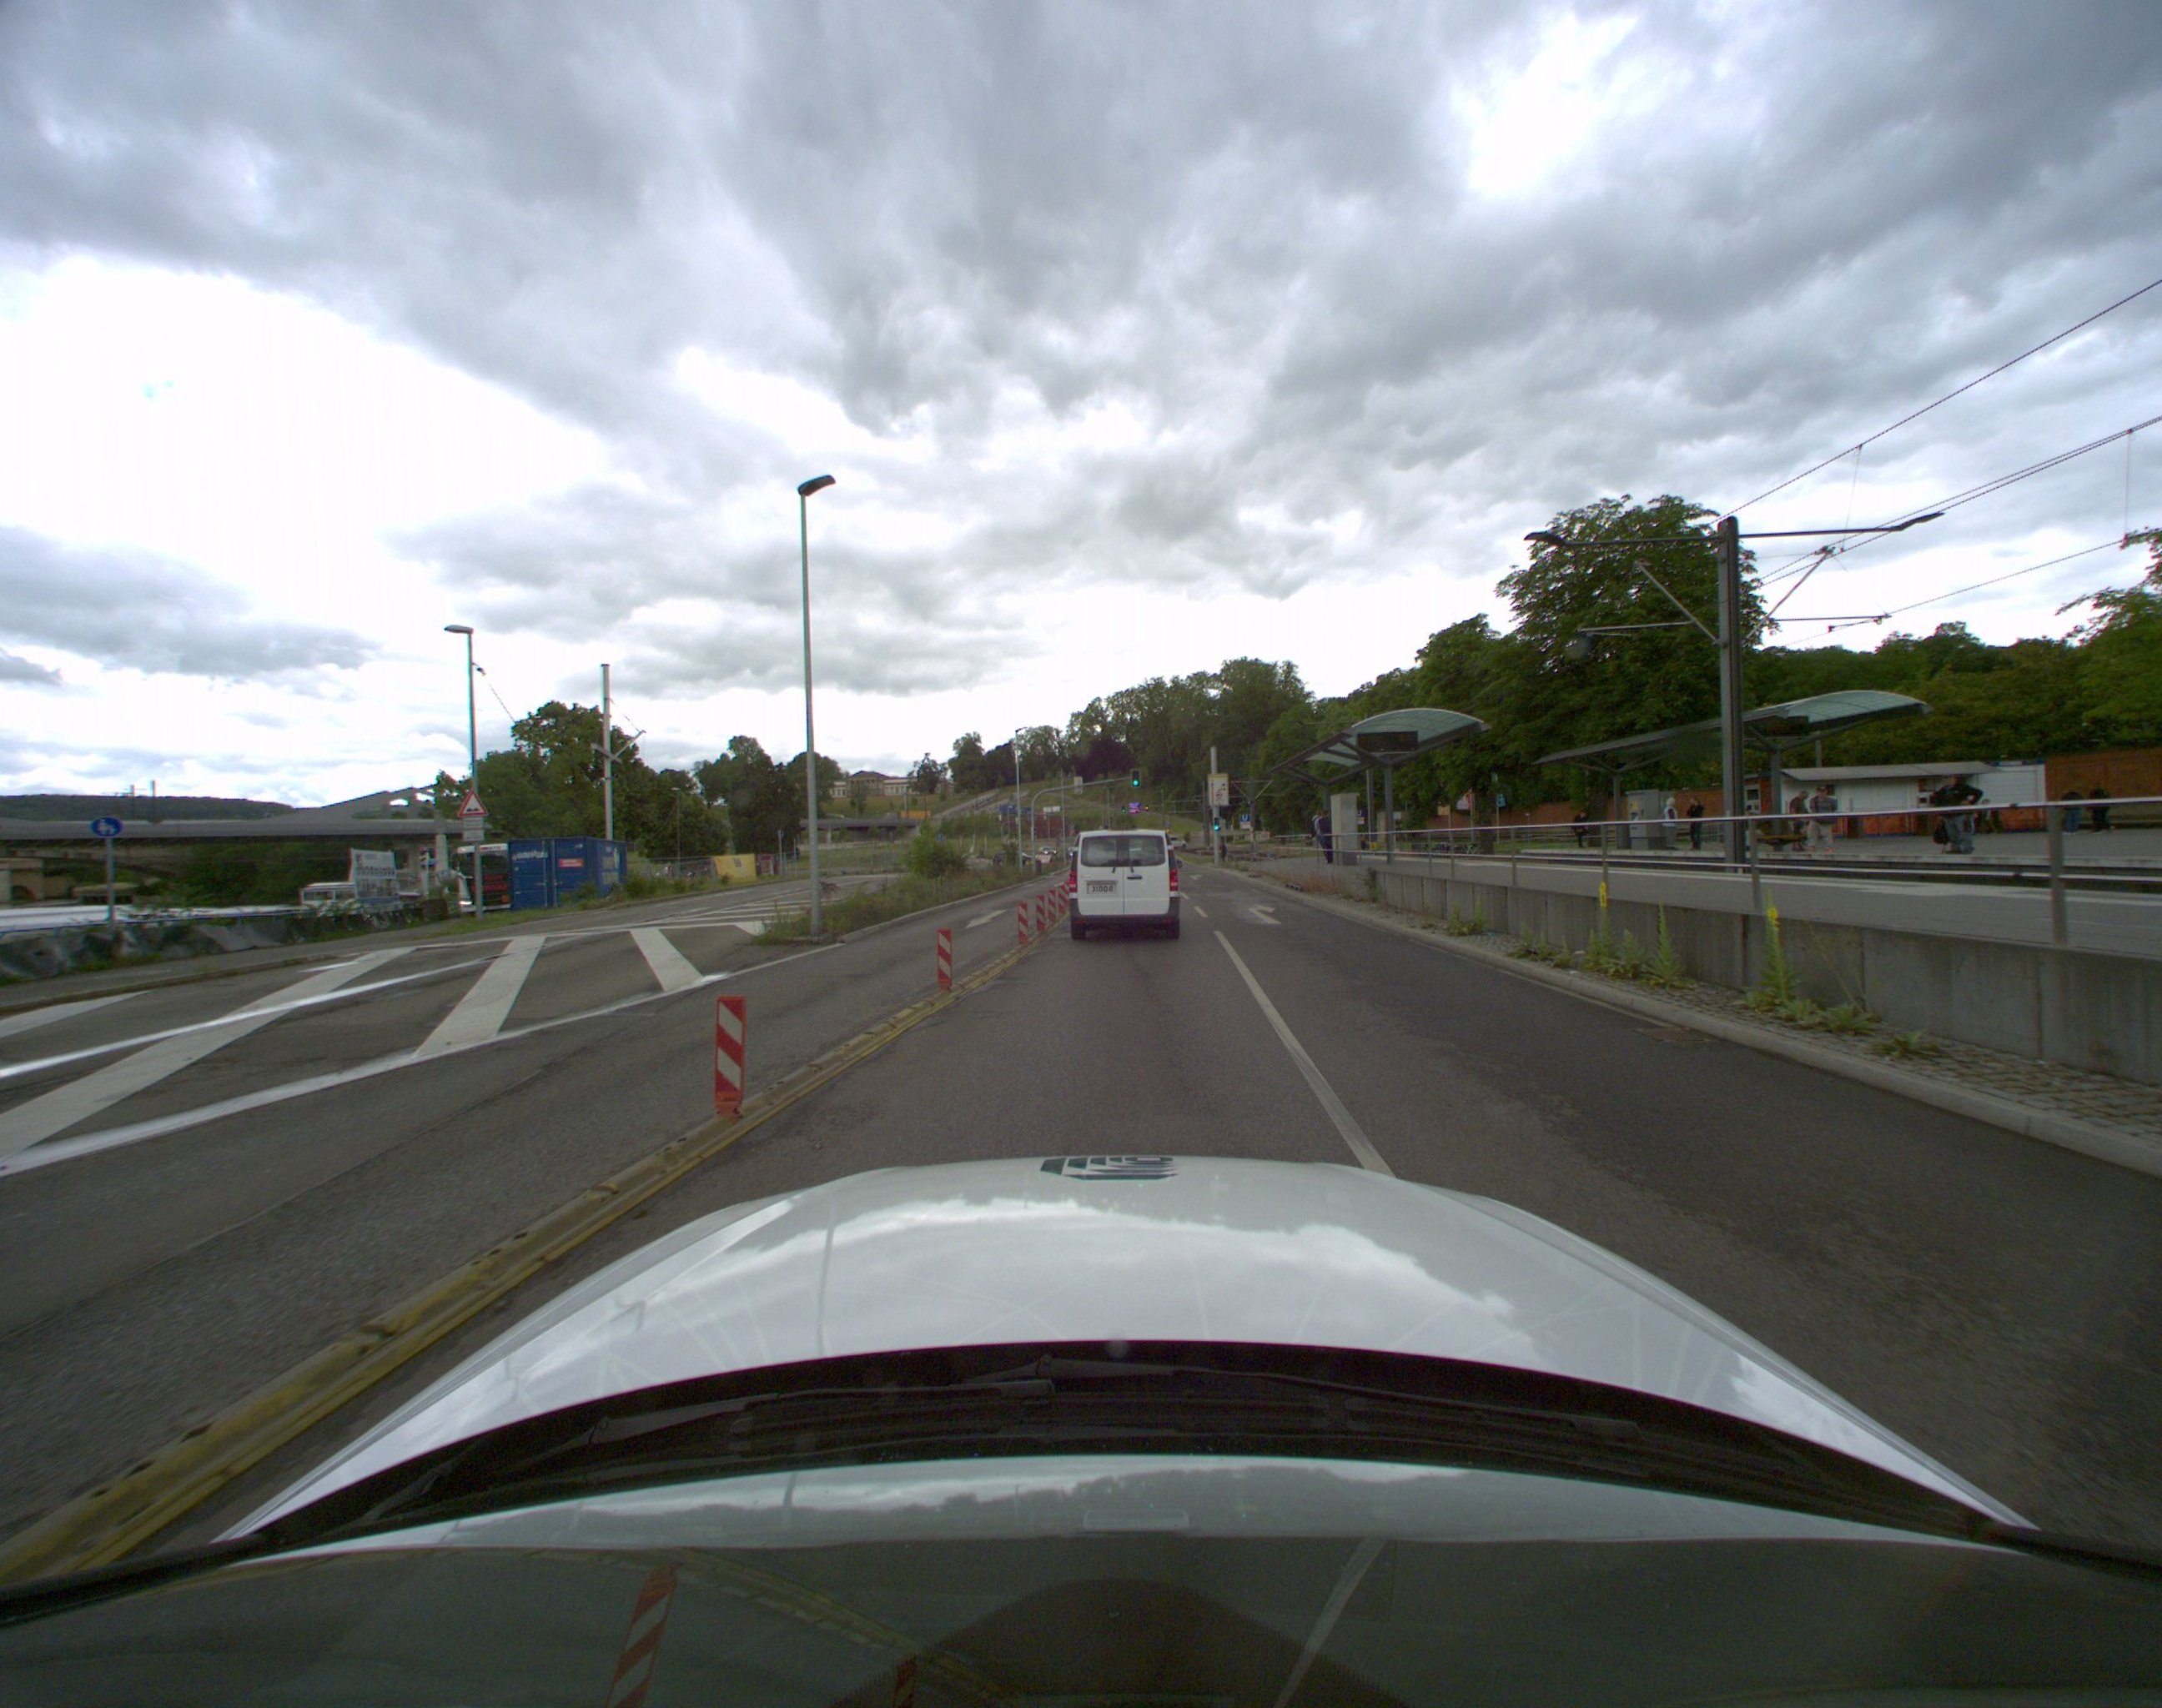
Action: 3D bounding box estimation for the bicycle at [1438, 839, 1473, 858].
[{"bbox_3d":[23.174,-0.359,50.402,1.865,1.139,0.533,0,0,4],"label":"bicycle"}]

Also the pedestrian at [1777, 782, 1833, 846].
[{"bbox_3d":[19.477,-1.070,21.917,0.859,1.677,0.760,0,0,-7],"label":"pedestrian"}]

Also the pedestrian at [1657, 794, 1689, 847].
[{"bbox_3d":[18.959,-1.061,26.078,0.542,1.677,0.676,0,0,0],"label":"pedestrian"}]

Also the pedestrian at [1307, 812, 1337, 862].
[{"bbox_3d":[7.560,-0.540,25.574,0.747,1.553,0.776,0,2,5],"label":"pedestrian"}]

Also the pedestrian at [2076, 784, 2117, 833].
[{"bbox_3d":[33.606,-1.500,26.952,0.583,1.583,0.621,0,0,-7],"label":"pedestrian"}]

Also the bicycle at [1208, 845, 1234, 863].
[{"bbox_3d":[8.990,-0.025,52.287,1.692,1.074,0.614,-3,2,-36],"label":"bicycle"}]

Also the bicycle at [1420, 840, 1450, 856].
[{"bbox_3d":[23.310,-0.408,53.709,1.756,1.033,0.484,0,0,4],"label":"bicycle"}]

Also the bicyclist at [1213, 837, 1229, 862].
[{"bbox_3d":[8.970,-0.291,52.272,0.810,1.572,0.611,-3,2,-36],"label":"bicyclist"}]

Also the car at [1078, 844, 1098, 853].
[{"bbox_3d":[1.229,-1.031,145.803,1.946,1.627,3.968,-1,1,-24],"label":"car"}]

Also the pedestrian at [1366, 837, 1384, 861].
[{"bbox_3d":[20.192,-0.317,55.942,0.835,1.609,0.773,-3,0,-19],"label":"pedestrian"}]

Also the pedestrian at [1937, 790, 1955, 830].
[{"bbox_3d":[33.152,-1.680,31.208,0.340,1.487,0.316,0,0,6],"label":"pedestrian"}]

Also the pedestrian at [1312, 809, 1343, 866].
[{"bbox_3d":[7.497,-0.515,24.802,0.767,1.699,0.732,0,2,5],"label":"pedestrian"}]

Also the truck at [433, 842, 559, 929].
[{"bbox_3d":[-26.483,1.246,37.337,2.806,3.335,8.411,-4,2,-24],"label":"truck"}]

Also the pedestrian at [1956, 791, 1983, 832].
[{"bbox_3d":[32.621,-1.543,29.913,0.482,1.487,0.460,0,0,6],"label":"pedestrian"}]

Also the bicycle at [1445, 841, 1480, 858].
[{"bbox_3d":[23.188,-0.274,49.563,1.865,0.963,0.533,0,0,4],"label":"bicycle"}]

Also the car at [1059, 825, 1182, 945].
[{"bbox_3d":[0.892,0.469,15.164,1.949,1.903,4.470,0,1,7],"label":"car"}]

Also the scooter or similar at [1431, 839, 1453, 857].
[{"bbox_3d":[23.339,-0.377,52.703,1.266,1.139,0.334,0,0,10],"label":"scooter or similar"}]

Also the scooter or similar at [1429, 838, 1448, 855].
[{"bbox_3d":[24.060,-0.486,54.789,1.151,1.139,0.335,0,0,27],"label":"scooter or similar"}]

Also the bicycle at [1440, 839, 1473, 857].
[{"bbox_3d":[23.644,-0.372,51.306,1.865,1.139,0.533,0,0,4],"label":"bicycle"}]

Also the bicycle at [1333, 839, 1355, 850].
[{"bbox_3d":[24.853,-0.905,76.891,1.904,0.975,0.531,-3,1,3],"label":"bicycle"}]

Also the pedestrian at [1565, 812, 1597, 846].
[{"bbox_3d":[19.471,-0.971,31.750,0.671,1.323,0.968,0,0,2],"label":"pedestrian"}]

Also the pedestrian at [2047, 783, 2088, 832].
[{"bbox_3d":[32.920,-1.544,27.180,0.654,1.583,0.620,0,0,-10],"label":"pedestrian"}]

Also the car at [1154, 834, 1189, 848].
[{"bbox_3d":[13.599,-1.907,122.209,5.178,2.013,2.182,-2,1,-41],"label":"car"}]

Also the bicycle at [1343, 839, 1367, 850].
[{"bbox_3d":[24.946,-0.871,74.178,1.904,0.895,0.531,-3,1,3],"label":"bicycle"}]

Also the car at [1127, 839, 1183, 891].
[{"bbox_3d":[2.587,0.334,29.263,1.831,1.729,4.065,0,1,2],"label":"car"}]

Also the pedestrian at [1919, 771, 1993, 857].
[{"bbox_3d":[19.252,-0.869,17.936,0.629,1.838,0.951,0,0,5],"label":"pedestrian"}]

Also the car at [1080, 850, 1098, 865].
[{"bbox_3d":[0.866,0.335,85.481,1.584,1.517,4.088,-2,0,3],"label":"car"}]

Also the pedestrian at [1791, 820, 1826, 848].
[{"bbox_3d":[19.240,-0.524,21.537,0.558,0.740,0.426,0,0,12],"label":"pedestrian"}]

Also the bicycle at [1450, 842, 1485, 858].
[{"bbox_3d":[23.162,-0.258,48.837,1.865,0.963,0.533,0,0,4],"label":"bicycle"}]

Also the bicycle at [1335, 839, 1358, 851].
[{"bbox_3d":[24.760,-0.846,75.954,1.904,0.975,0.531,-3,1,3],"label":"bicycle"}]

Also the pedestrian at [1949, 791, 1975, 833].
[{"bbox_3d":[32.897,-1.570,30.403,0.482,1.535,0.460,0,0,6],"label":"pedestrian"}]

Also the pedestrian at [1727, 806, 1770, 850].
[{"bbox_3d":[18.428,-0.717,22.494,0.654,1.191,0.677,0,0,5],"label":"pedestrian"}]

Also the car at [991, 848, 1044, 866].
[{"bbox_3d":[-6.262,0.289,80.283,4.676,1.477,2.008,-3,2,13],"label":"car"}]

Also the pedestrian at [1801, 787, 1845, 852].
[{"bbox_3d":[18.850,-0.874,20.694,0.522,1.620,0.677,0,0,5],"label":"pedestrian"}]

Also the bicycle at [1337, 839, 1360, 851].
[{"bbox_3d":[24.767,-0.841,75.305,1.904,0.975,0.531,-3,1,3],"label":"bicycle"}]

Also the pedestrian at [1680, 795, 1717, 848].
[{"bbox_3d":[19.628,-1.018,25.888,0.671,1.677,0.677,0,0,0],"label":"pedestrian"}]
